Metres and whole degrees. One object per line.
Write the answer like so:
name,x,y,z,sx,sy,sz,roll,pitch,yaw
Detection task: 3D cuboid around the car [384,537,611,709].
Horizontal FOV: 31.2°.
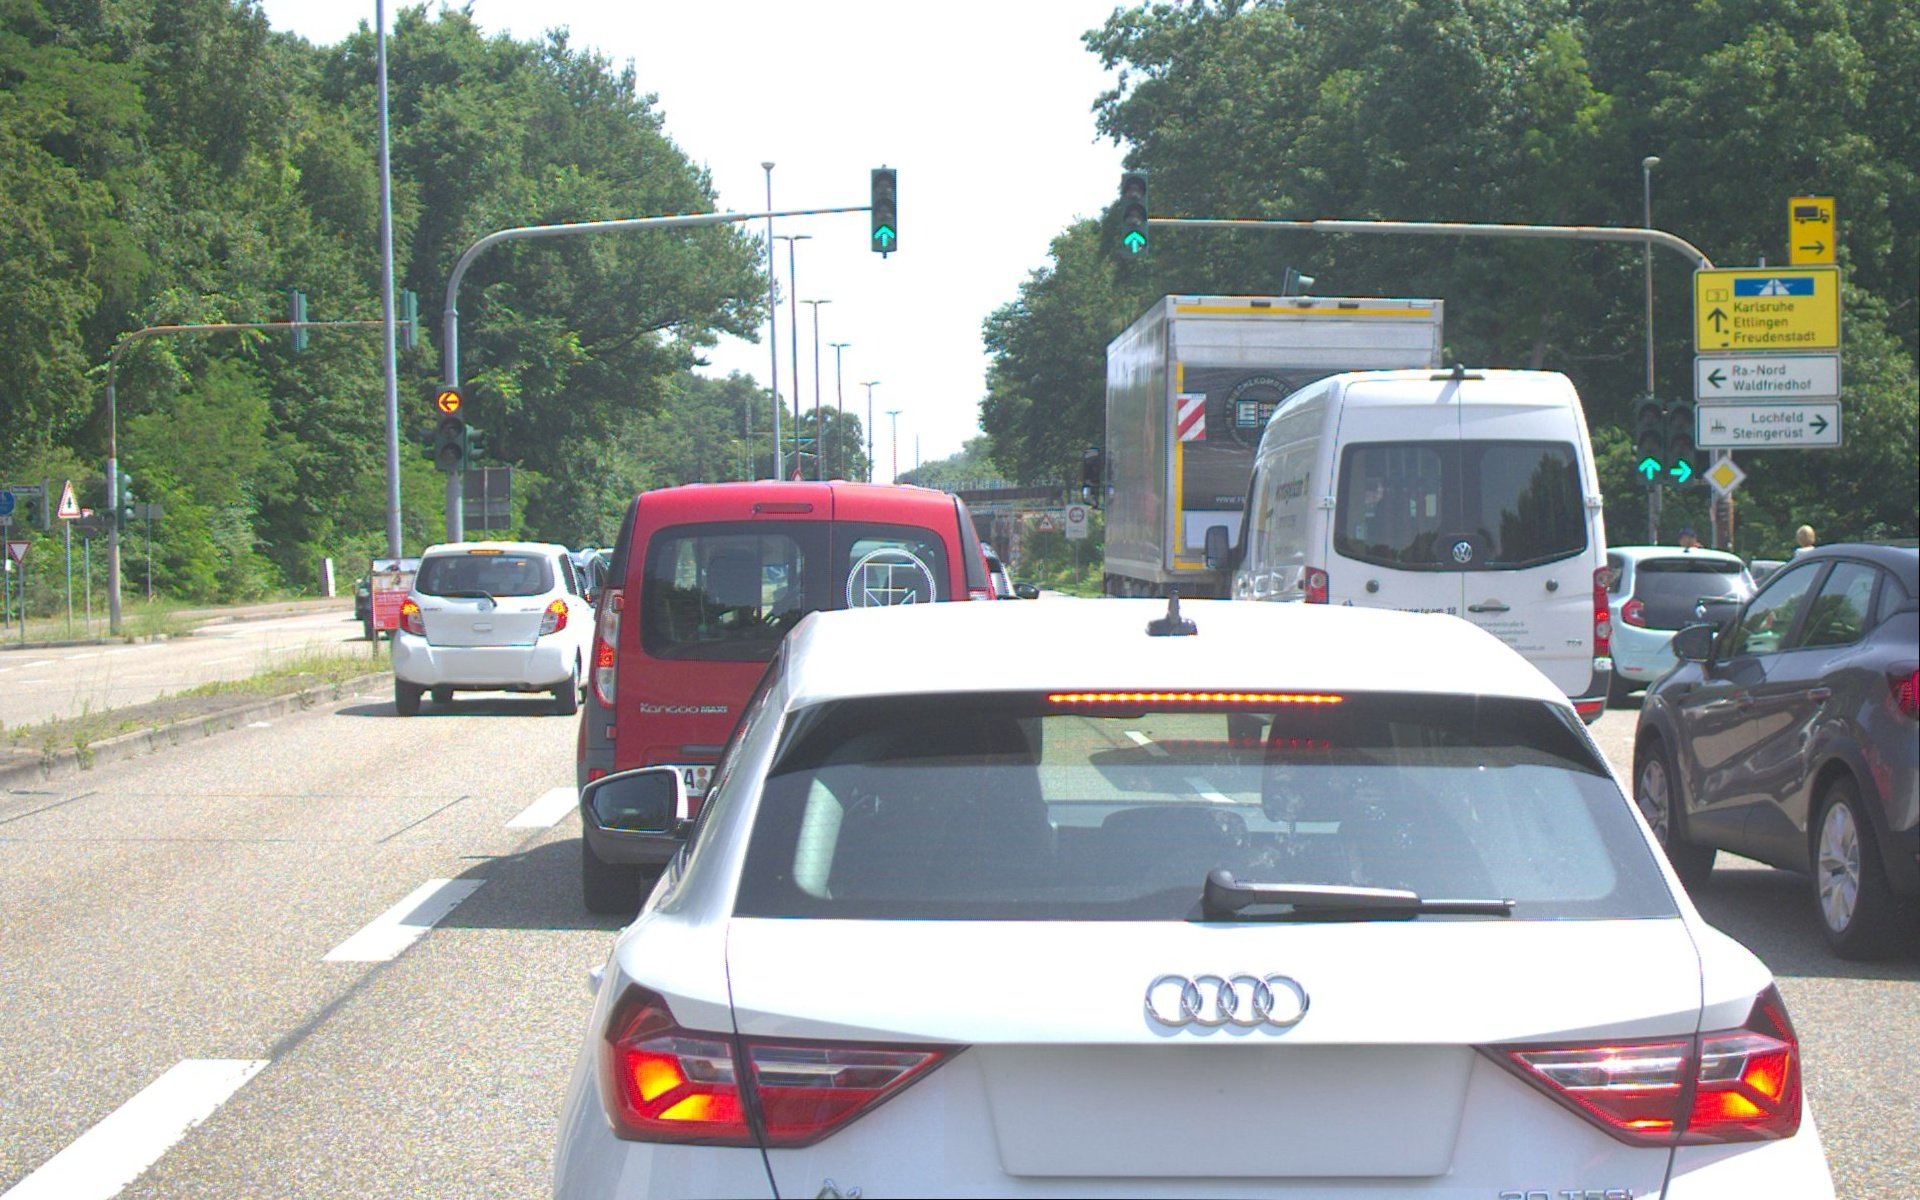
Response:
car,-4.216,0.164,31.842,1.711,1.487,4.092,0,1,-2

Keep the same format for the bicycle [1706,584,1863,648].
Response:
bicycle,10.181,0.192,42.477,1.826,0.763,0.599,0,1,45

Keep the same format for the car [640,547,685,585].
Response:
car,-14.067,-1.620,162.705,1.830,1.722,4.000,-1,1,-1

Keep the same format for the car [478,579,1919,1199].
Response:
car,0.212,0.677,6.060,1.711,1.381,4.092,0,1,-2

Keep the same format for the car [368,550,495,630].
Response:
car,-9.976,-0.209,65.162,1.804,1.331,4.000,-4,1,-1

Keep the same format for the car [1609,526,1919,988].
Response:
car,3.942,0.503,13.874,1.711,1.587,4.092,0,1,-2

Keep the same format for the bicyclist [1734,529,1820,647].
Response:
bicyclist,10.109,-0.154,42.547,0.828,1.434,0.598,0,1,45

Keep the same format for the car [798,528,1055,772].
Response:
car,-0.307,0.297,24.927,1.711,1.626,4.092,0,1,-2

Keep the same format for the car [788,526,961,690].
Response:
car,-0.936,0.045,36.157,1.711,1.626,4.092,0,1,-2

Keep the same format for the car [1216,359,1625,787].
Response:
car,3.021,-0.210,23.625,2.031,2.635,4.846,0,1,-2

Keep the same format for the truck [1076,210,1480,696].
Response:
truck,3.103,-1.447,37.215,3.088,4.418,11.581,0,1,-1

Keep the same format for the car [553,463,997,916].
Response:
car,-0.798,0.309,15.314,1.711,1.742,4.092,0,1,-2

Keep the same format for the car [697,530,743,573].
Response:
car,-10.767,-2.194,154.598,1.872,1.854,4.000,-1,1,-2

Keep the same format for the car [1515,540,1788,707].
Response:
car,6.736,0.184,33.883,1.711,1.541,4.092,0,1,-2
